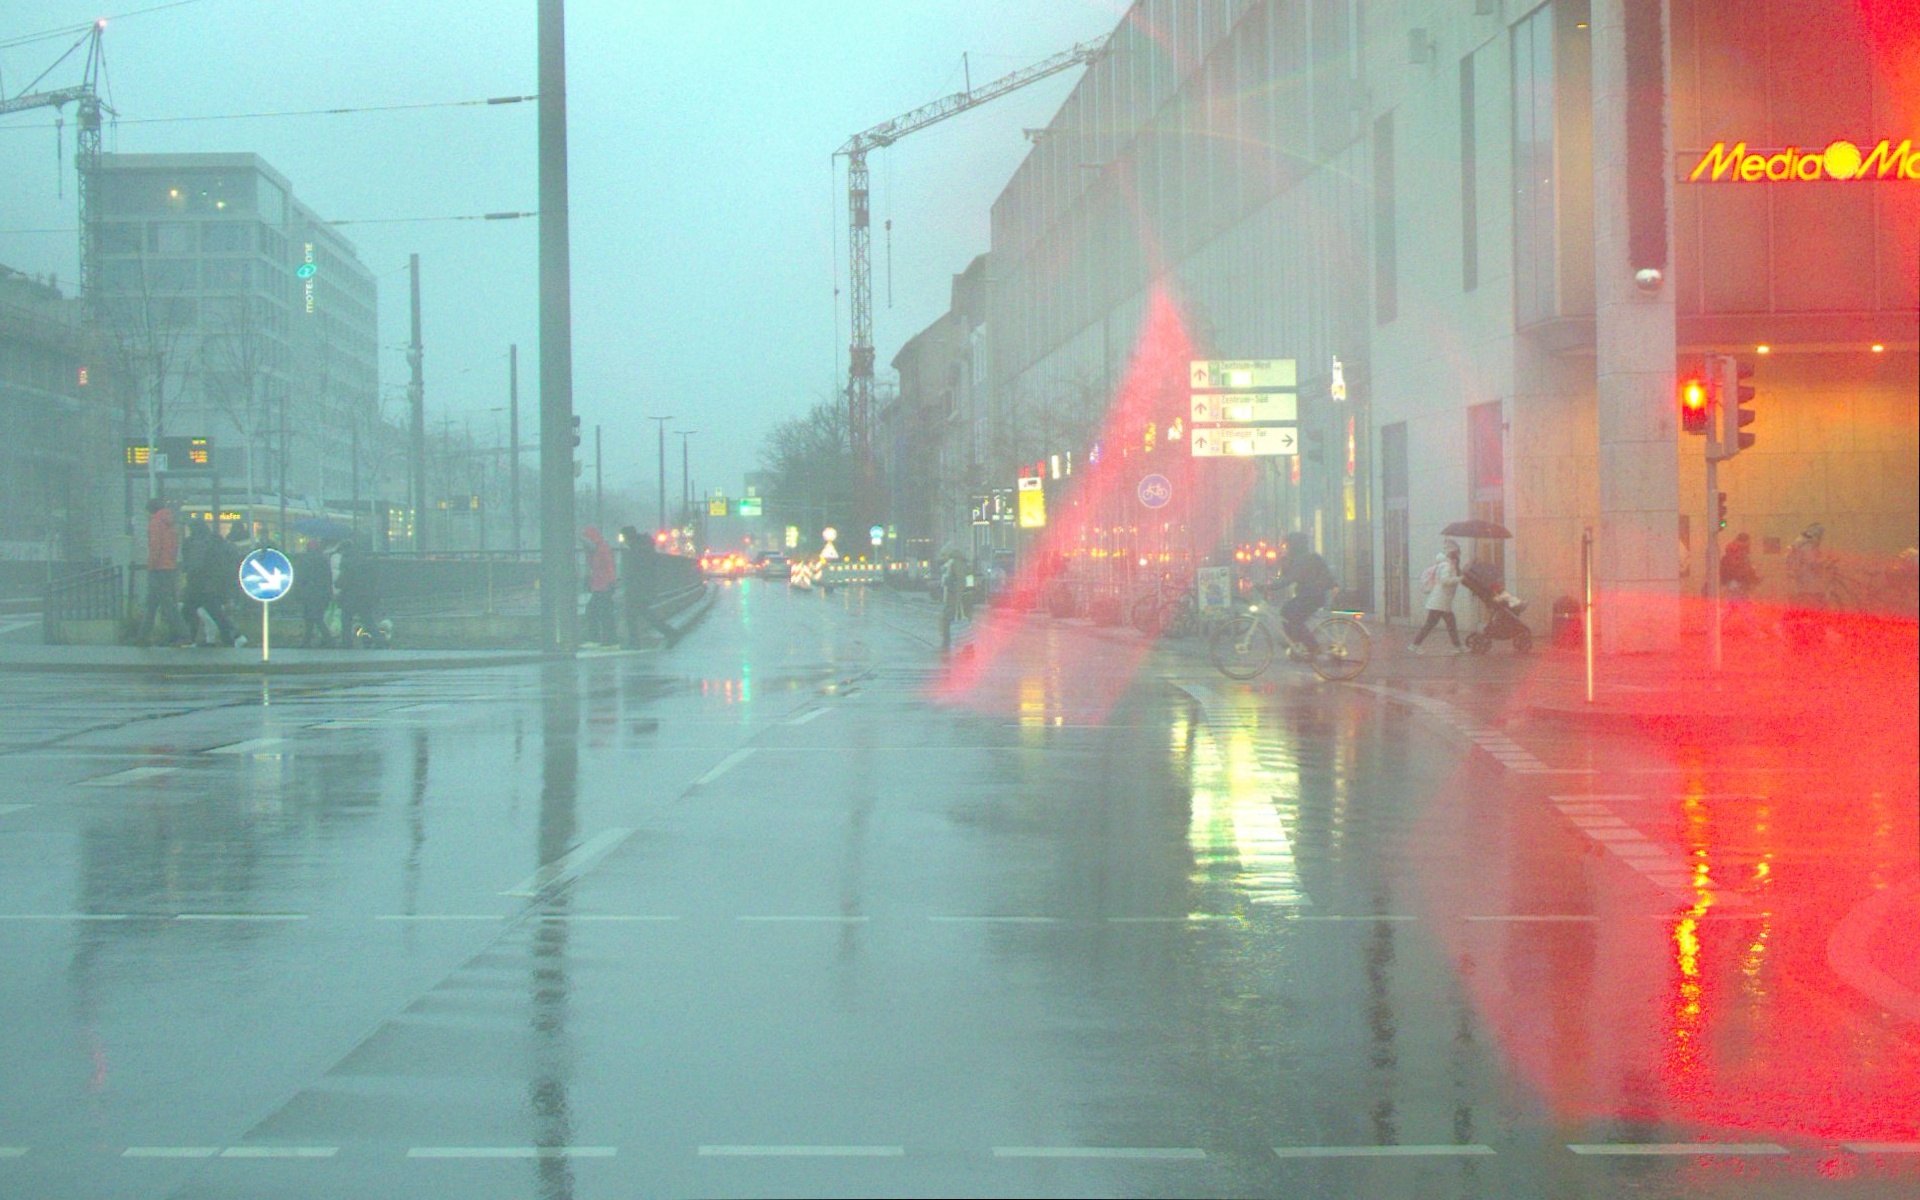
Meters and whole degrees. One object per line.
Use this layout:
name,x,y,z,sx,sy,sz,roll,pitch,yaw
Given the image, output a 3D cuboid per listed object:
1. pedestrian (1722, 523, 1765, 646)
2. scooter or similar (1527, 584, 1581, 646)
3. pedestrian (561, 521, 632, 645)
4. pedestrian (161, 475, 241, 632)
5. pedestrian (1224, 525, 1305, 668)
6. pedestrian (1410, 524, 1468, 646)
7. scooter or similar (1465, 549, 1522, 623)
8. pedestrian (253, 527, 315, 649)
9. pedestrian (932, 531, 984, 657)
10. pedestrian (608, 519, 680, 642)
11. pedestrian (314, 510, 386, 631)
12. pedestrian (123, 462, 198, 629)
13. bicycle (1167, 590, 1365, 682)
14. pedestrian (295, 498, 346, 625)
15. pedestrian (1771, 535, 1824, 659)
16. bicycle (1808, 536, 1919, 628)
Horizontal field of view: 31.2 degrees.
pedestrian,11.325,-0.226,49.718,0.512,1.754,0.374,-1,1,-1
scooter or similar,8.889,0.226,51.445,0.741,0.913,0.400,-1,1,1
pedestrian,-4.958,-0.233,46.932,0.831,1.673,0.619,-1,1,5
pedestrian,-9.769,-0.600,44.261,0.775,2.007,0.613,-1,1,-39
pedestrian,3.373,-0.041,38.071,0.814,1.564,0.536,-1,1,-1
pedestrian,6.594,-0.203,47.342,0.741,1.661,0.400,-1,1,12
scooter or similar,7.320,-0.194,47.195,0.741,0.990,0.400,-1,1,12
pedestrian,-9.029,-0.159,45.955,0.706,1.613,0.613,-1,1,-3
pedestrian,-0.033,-0.087,48.334,0.703,1.754,0.652,-1,1,-1
pedestrian,-4.372,-0.273,47.583,0.843,1.682,0.677,-1,1,6
pedestrian,-8.199,-0.401,46.247,0.809,1.602,0.745,-1,1,-1
pedestrian,-10.070,-0.691,43.285,0.686,2.080,0.613,-1,1,-40
bicycle,3.379,0.395,38.063,2.128,0.988,0.541,1,0,-2
pedestrian,-8.900,-0.536,47.863,0.619,1.740,0.613,-1,1,-6
pedestrian,11.947,-0.051,49.039,0.617,1.754,0.482,-1,1,-1
bicycle,13.784,-0.278,50.641,2.424,1.325,0.635,-1,1,-5
